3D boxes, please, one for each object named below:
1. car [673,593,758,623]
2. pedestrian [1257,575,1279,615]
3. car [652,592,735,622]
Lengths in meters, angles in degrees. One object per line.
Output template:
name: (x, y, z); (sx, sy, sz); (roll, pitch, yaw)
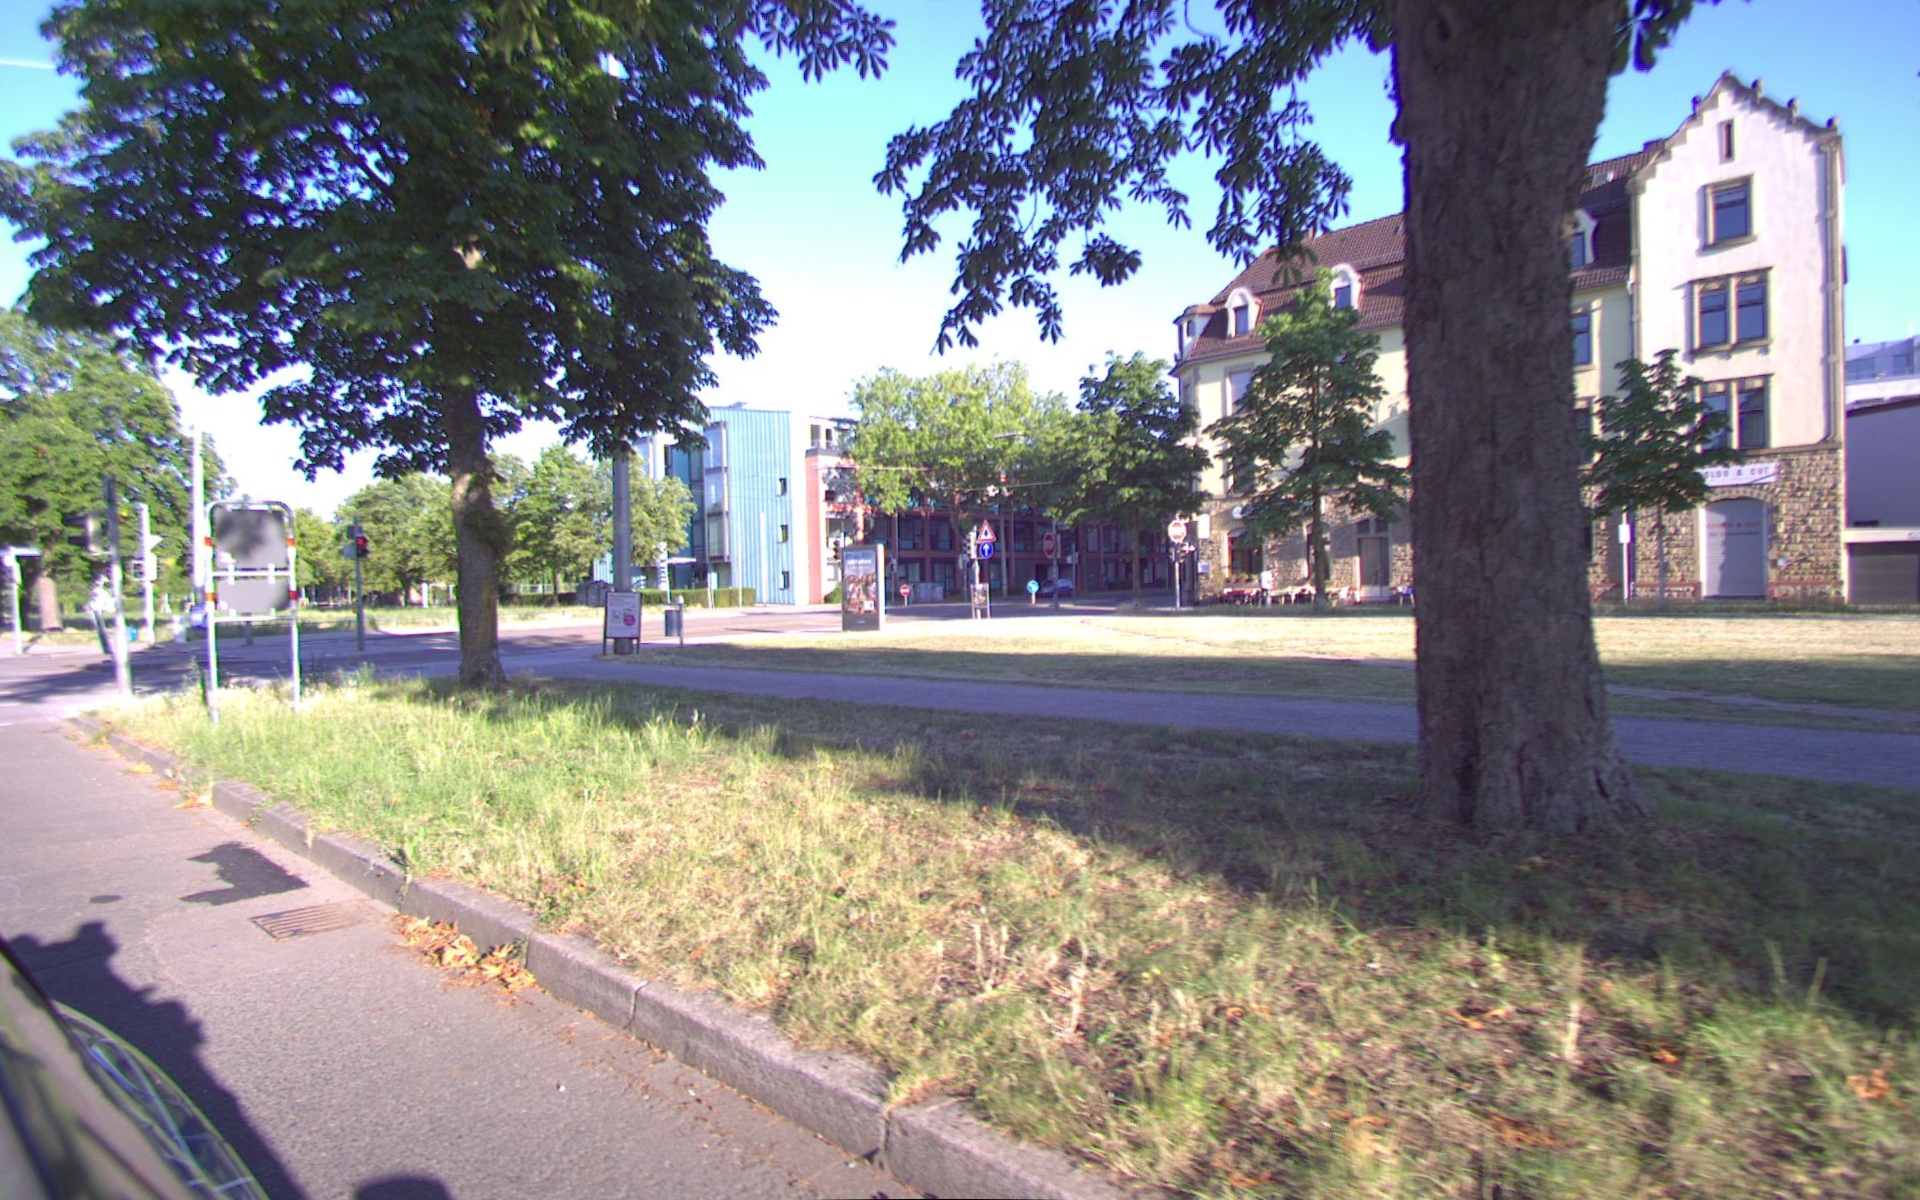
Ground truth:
car: (-15.756, 0.483, 65.503); (1.998, 1.684, 5.156); (0, 3, 39)
pedestrian: (13.211, -0.211, 43.374); (0.682, 1.636, 0.610); (0, 3, 40)
car: (-17.550, 0.427, 66.893); (1.965, 1.684, 5.159); (-1, 2, 37)
